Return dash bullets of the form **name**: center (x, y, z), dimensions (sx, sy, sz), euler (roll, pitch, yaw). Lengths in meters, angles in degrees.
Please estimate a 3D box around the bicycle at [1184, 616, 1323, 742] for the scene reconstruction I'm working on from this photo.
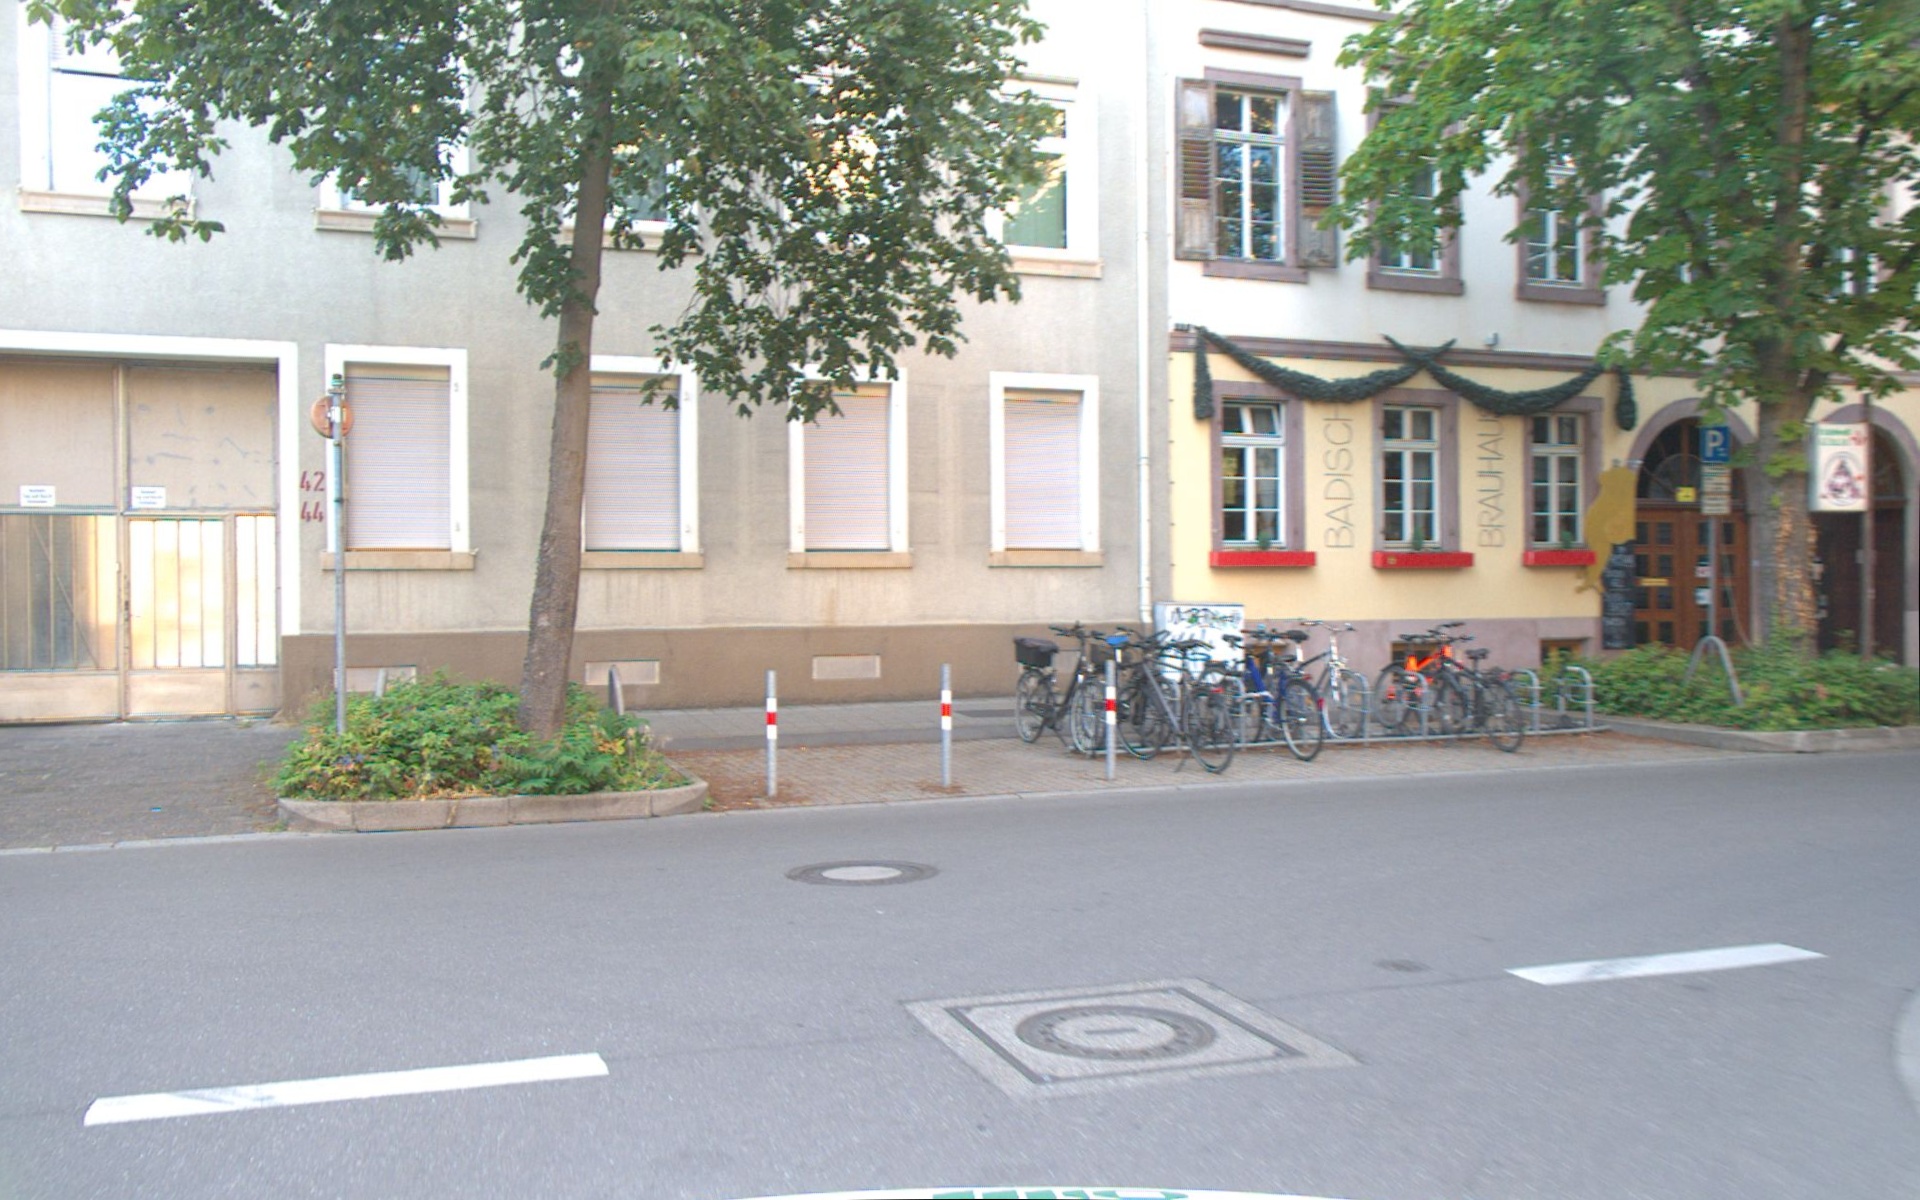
- **bicycle**: center (2.934, 0.759, 16.731), dimensions (0.414, 1.165, 2.030), euler (-1, 1, -20)

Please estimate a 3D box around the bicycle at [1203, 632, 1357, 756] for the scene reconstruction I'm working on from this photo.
- **bicycle**: center (2.925, 0.833, 15.323), dimensions (0.414, 1.021, 2.030), euler (-1, 1, -20)

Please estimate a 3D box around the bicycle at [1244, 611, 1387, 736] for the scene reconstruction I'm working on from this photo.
- **bicycle**: center (3.610, 0.717, 16.950), dimensions (0.414, 1.165, 2.030), euler (-1, 1, -20)

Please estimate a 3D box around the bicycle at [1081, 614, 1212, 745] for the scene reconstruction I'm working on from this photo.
- **bicycle**: center (1.801, 0.743, 16.250), dimensions (0.414, 1.165, 2.030), euler (-1, 1, -20)

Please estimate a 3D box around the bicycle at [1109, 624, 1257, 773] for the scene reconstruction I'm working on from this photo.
- **bicycle**: center (1.918, 0.817, 14.530), dimensions (0.438, 1.165, 2.031), euler (-1, 1, -18)

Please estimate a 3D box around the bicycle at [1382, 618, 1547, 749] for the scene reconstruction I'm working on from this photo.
- **bicycle**: center (4.932, 0.782, 16.314), dimensions (0.414, 1.165, 2.030), euler (-1, 1, -20)

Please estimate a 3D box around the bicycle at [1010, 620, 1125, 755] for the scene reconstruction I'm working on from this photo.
- **bicycle**: center (0.999, 0.795, 15.889), dimensions (0.437, 1.165, 2.033), euler (-1, 1, -16)
